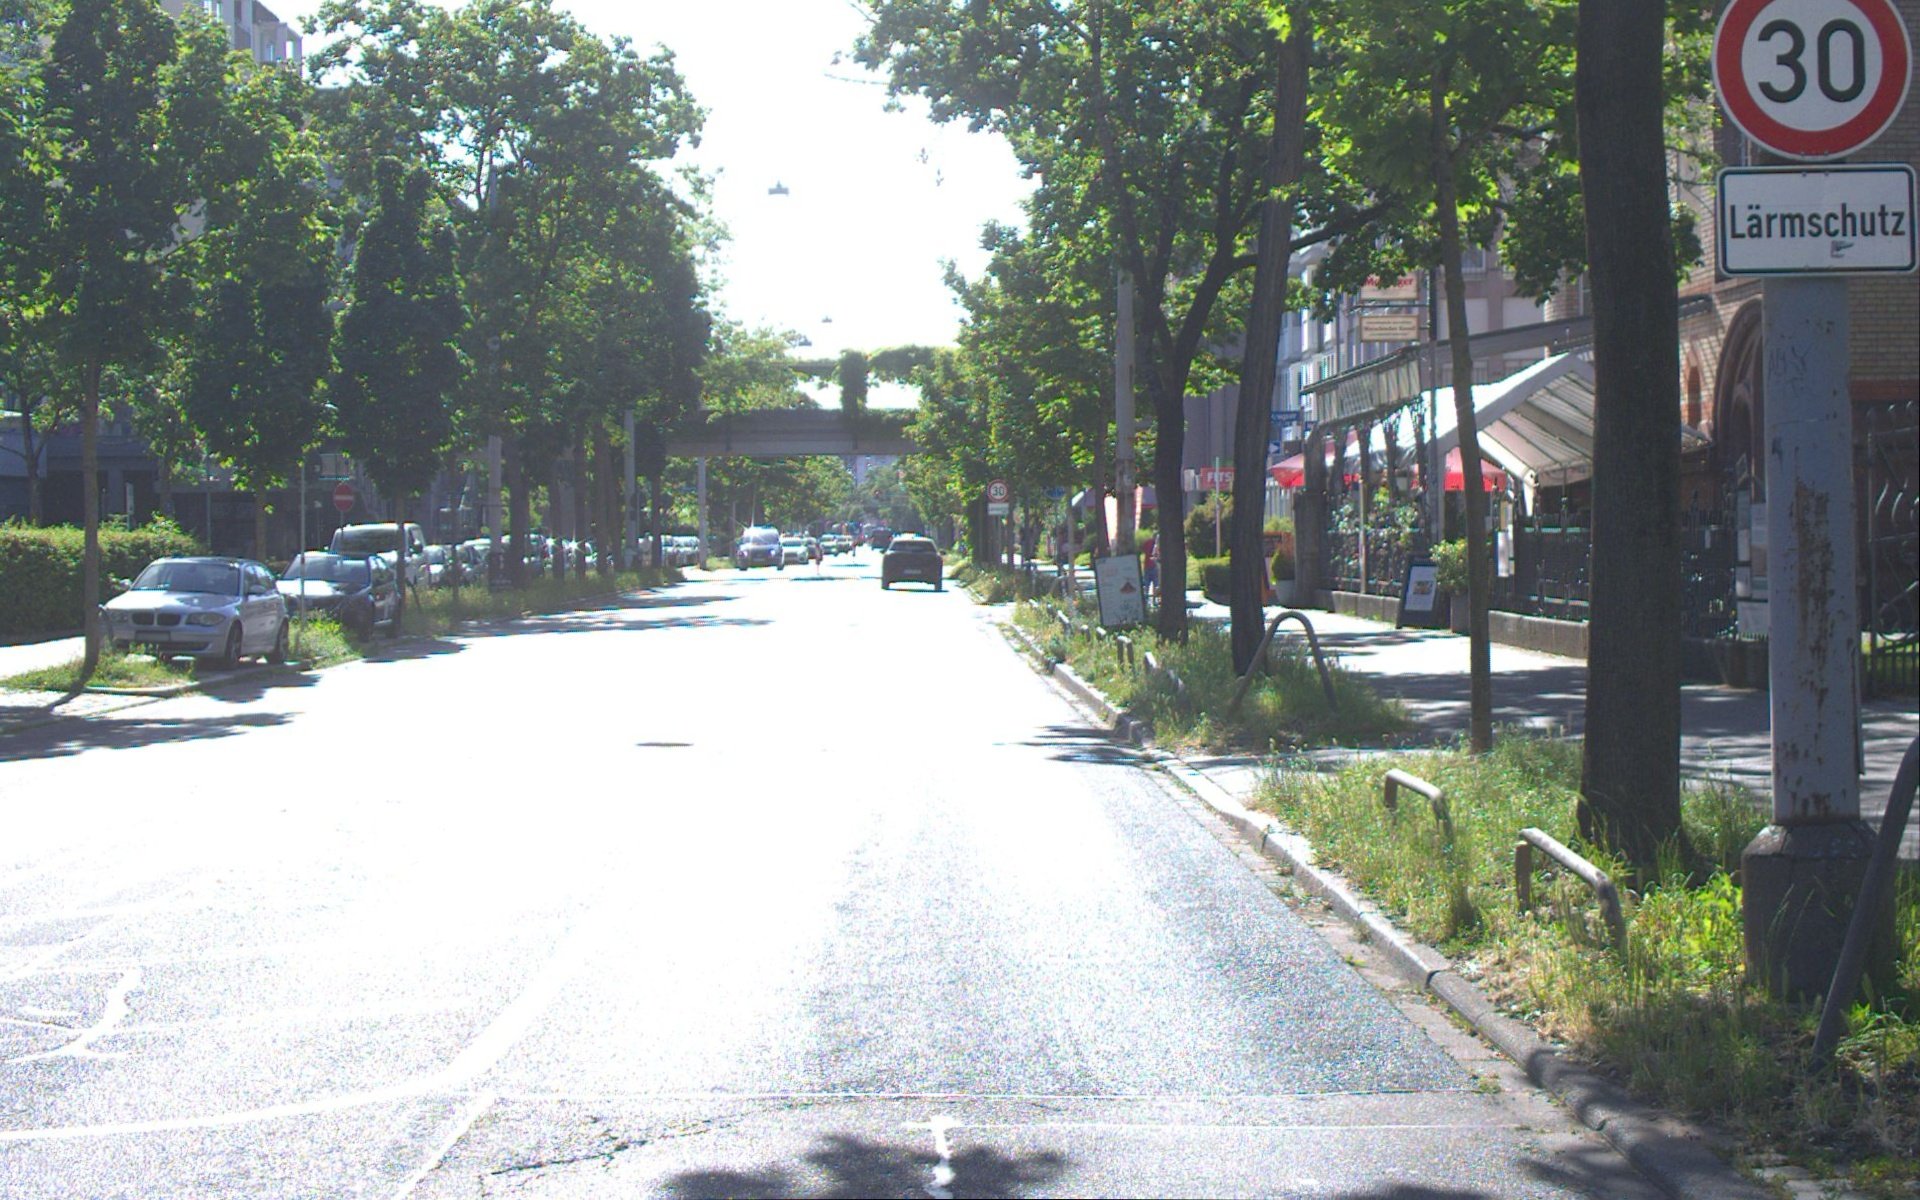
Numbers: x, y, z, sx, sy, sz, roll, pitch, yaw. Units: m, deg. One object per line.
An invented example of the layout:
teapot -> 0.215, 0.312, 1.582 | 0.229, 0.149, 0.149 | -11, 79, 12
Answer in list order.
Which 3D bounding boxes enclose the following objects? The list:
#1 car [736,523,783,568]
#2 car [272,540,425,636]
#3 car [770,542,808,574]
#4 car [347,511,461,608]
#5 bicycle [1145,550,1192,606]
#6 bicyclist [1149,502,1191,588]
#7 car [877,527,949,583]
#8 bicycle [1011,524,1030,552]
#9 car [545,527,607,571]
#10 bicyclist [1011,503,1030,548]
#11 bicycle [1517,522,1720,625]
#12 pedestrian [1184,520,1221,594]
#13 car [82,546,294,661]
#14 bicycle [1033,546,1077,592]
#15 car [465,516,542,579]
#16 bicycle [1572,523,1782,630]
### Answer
car -> -8.455, -2.308, 145.273 | 1.855, 1.818, 4.610 | -2, 1, -2
car -> -9.873, -0.220, 55.744 | 1.712, 1.453, 4.072 | 1, 1, 0
car -> -8.916, -2.192, 179.192 | 1.855, 1.563, 4.716 | -2, 1, -2
car -> -12.561, -0.941, 77.905 | 1.981, 2.069, 5.197 | -2, 1, -4
bicycle -> 3.891, -0.417, 64.166 | 0.685, 1.024, 2.096 | 0, 0, -2
bicyclist -> 3.916, -1.021, 64.105 | 0.700, 1.594, 0.955 | 0, 0, -2
car -> -1.387, -1.327, 100.489 | 1.984, 1.595, 4.141 | 0, 1, -2
bicycle -> 2.281, -2.339, 129.840 | 0.589, 1.024, 1.860 | 0, 0, -2
car -> -13.596, -1.827, 121.879 | 1.855, 1.518, 4.319 | 1, 1, -2
bicyclist -> 2.275, -2.804, 129.745 | 0.667, 1.689, 0.889 | 0, 0, -2
bicycle -> 7.573, -0.303, 39.571 | 2.195, 1.174, 0.687 | 0, 0, -7
pedestrian -> 5.418, -0.956, 76.839 | 0.653, 1.598, 0.603 | -3, 0, -6
car -> -9.925, 0.012, 44.492 | 1.688, 1.378, 4.191 | 1, 1, 2
bicycle -> 2.261, -0.733, 81.453 | 0.591, 1.062, 2.021 | 0, 1, 15
car -> -13.809, -1.605, 104.272 | 1.855, 1.843, 4.562 | 1, 1, -2
bicycle -> 7.995, -0.268, 38.369 | 2.195, 1.174, 0.687 | 0, 0, -7
